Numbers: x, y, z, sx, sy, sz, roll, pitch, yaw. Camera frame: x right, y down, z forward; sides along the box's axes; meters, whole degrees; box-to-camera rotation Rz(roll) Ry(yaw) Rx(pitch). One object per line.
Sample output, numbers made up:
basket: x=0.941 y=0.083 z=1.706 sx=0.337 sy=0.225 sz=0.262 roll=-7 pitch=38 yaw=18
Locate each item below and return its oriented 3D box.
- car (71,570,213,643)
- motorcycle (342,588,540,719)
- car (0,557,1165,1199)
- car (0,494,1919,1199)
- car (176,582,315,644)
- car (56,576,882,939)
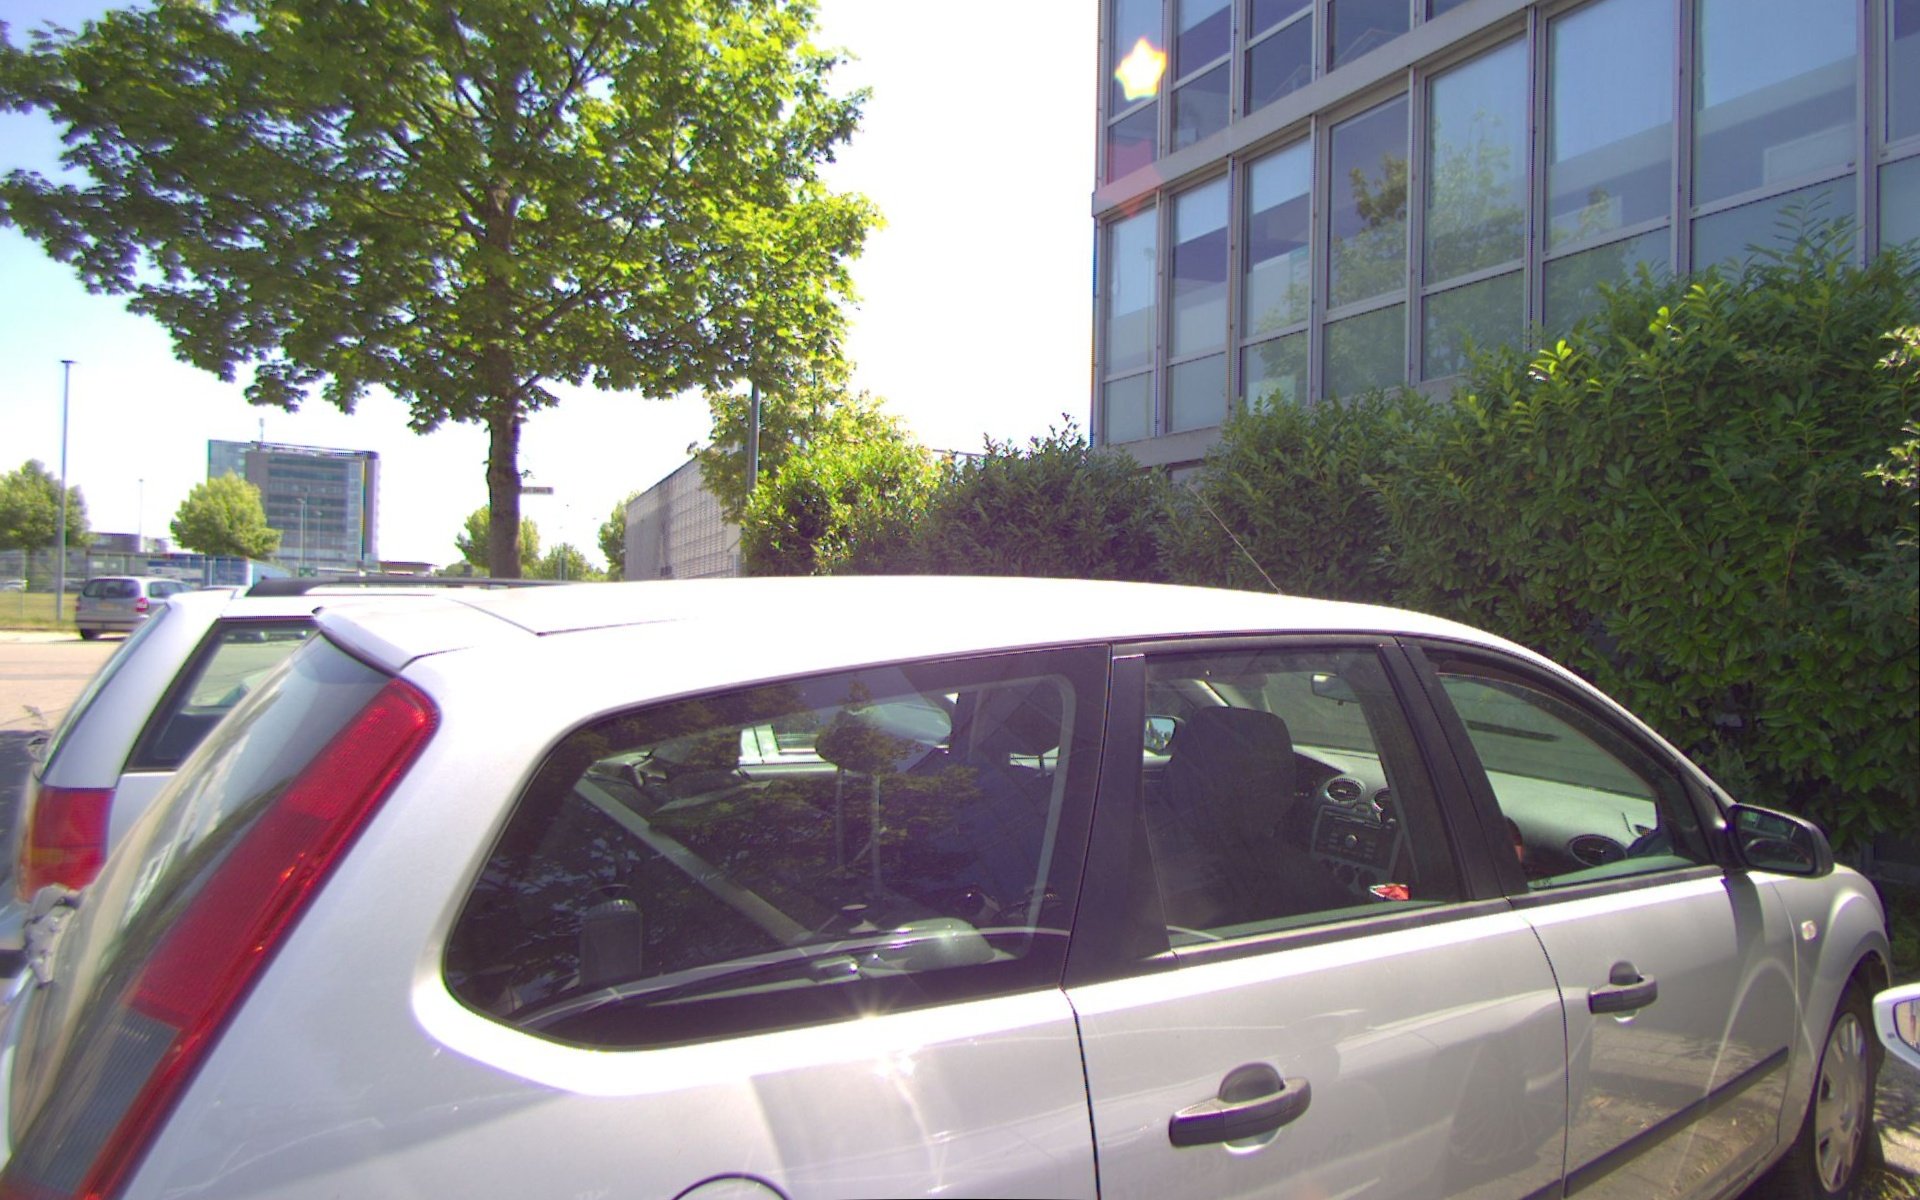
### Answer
car: x=-21.621 y=0.152 z=26.745 sx=1.746 sy=1.761 sz=3.980 roll=1 pitch=0 yaw=-21
motorcycle: x=-5.938 y=0.584 z=11.561 sx=1.970 sy=1.408 sz=0.479 roll=1 pitch=1 yaw=-36
car: x=-1.171 y=0.680 z=3.829 sx=3.853 sy=1.499 sz=1.636 roll=1 pitch=0 yaw=-35
car: x=0.520 y=0.719 z=2.256 sx=4.301 sy=1.499 sz=1.709 roll=1 pitch=0 yaw=-33
car: x=-19.211 y=0.322 z=27.224 sx=1.625 sy=1.542 sz=3.990 roll=1 pitch=0 yaw=-13
car: x=-2.530 y=0.665 z=5.850 sx=3.853 sy=1.468 sz=1.636 roll=1 pitch=0 yaw=-35
